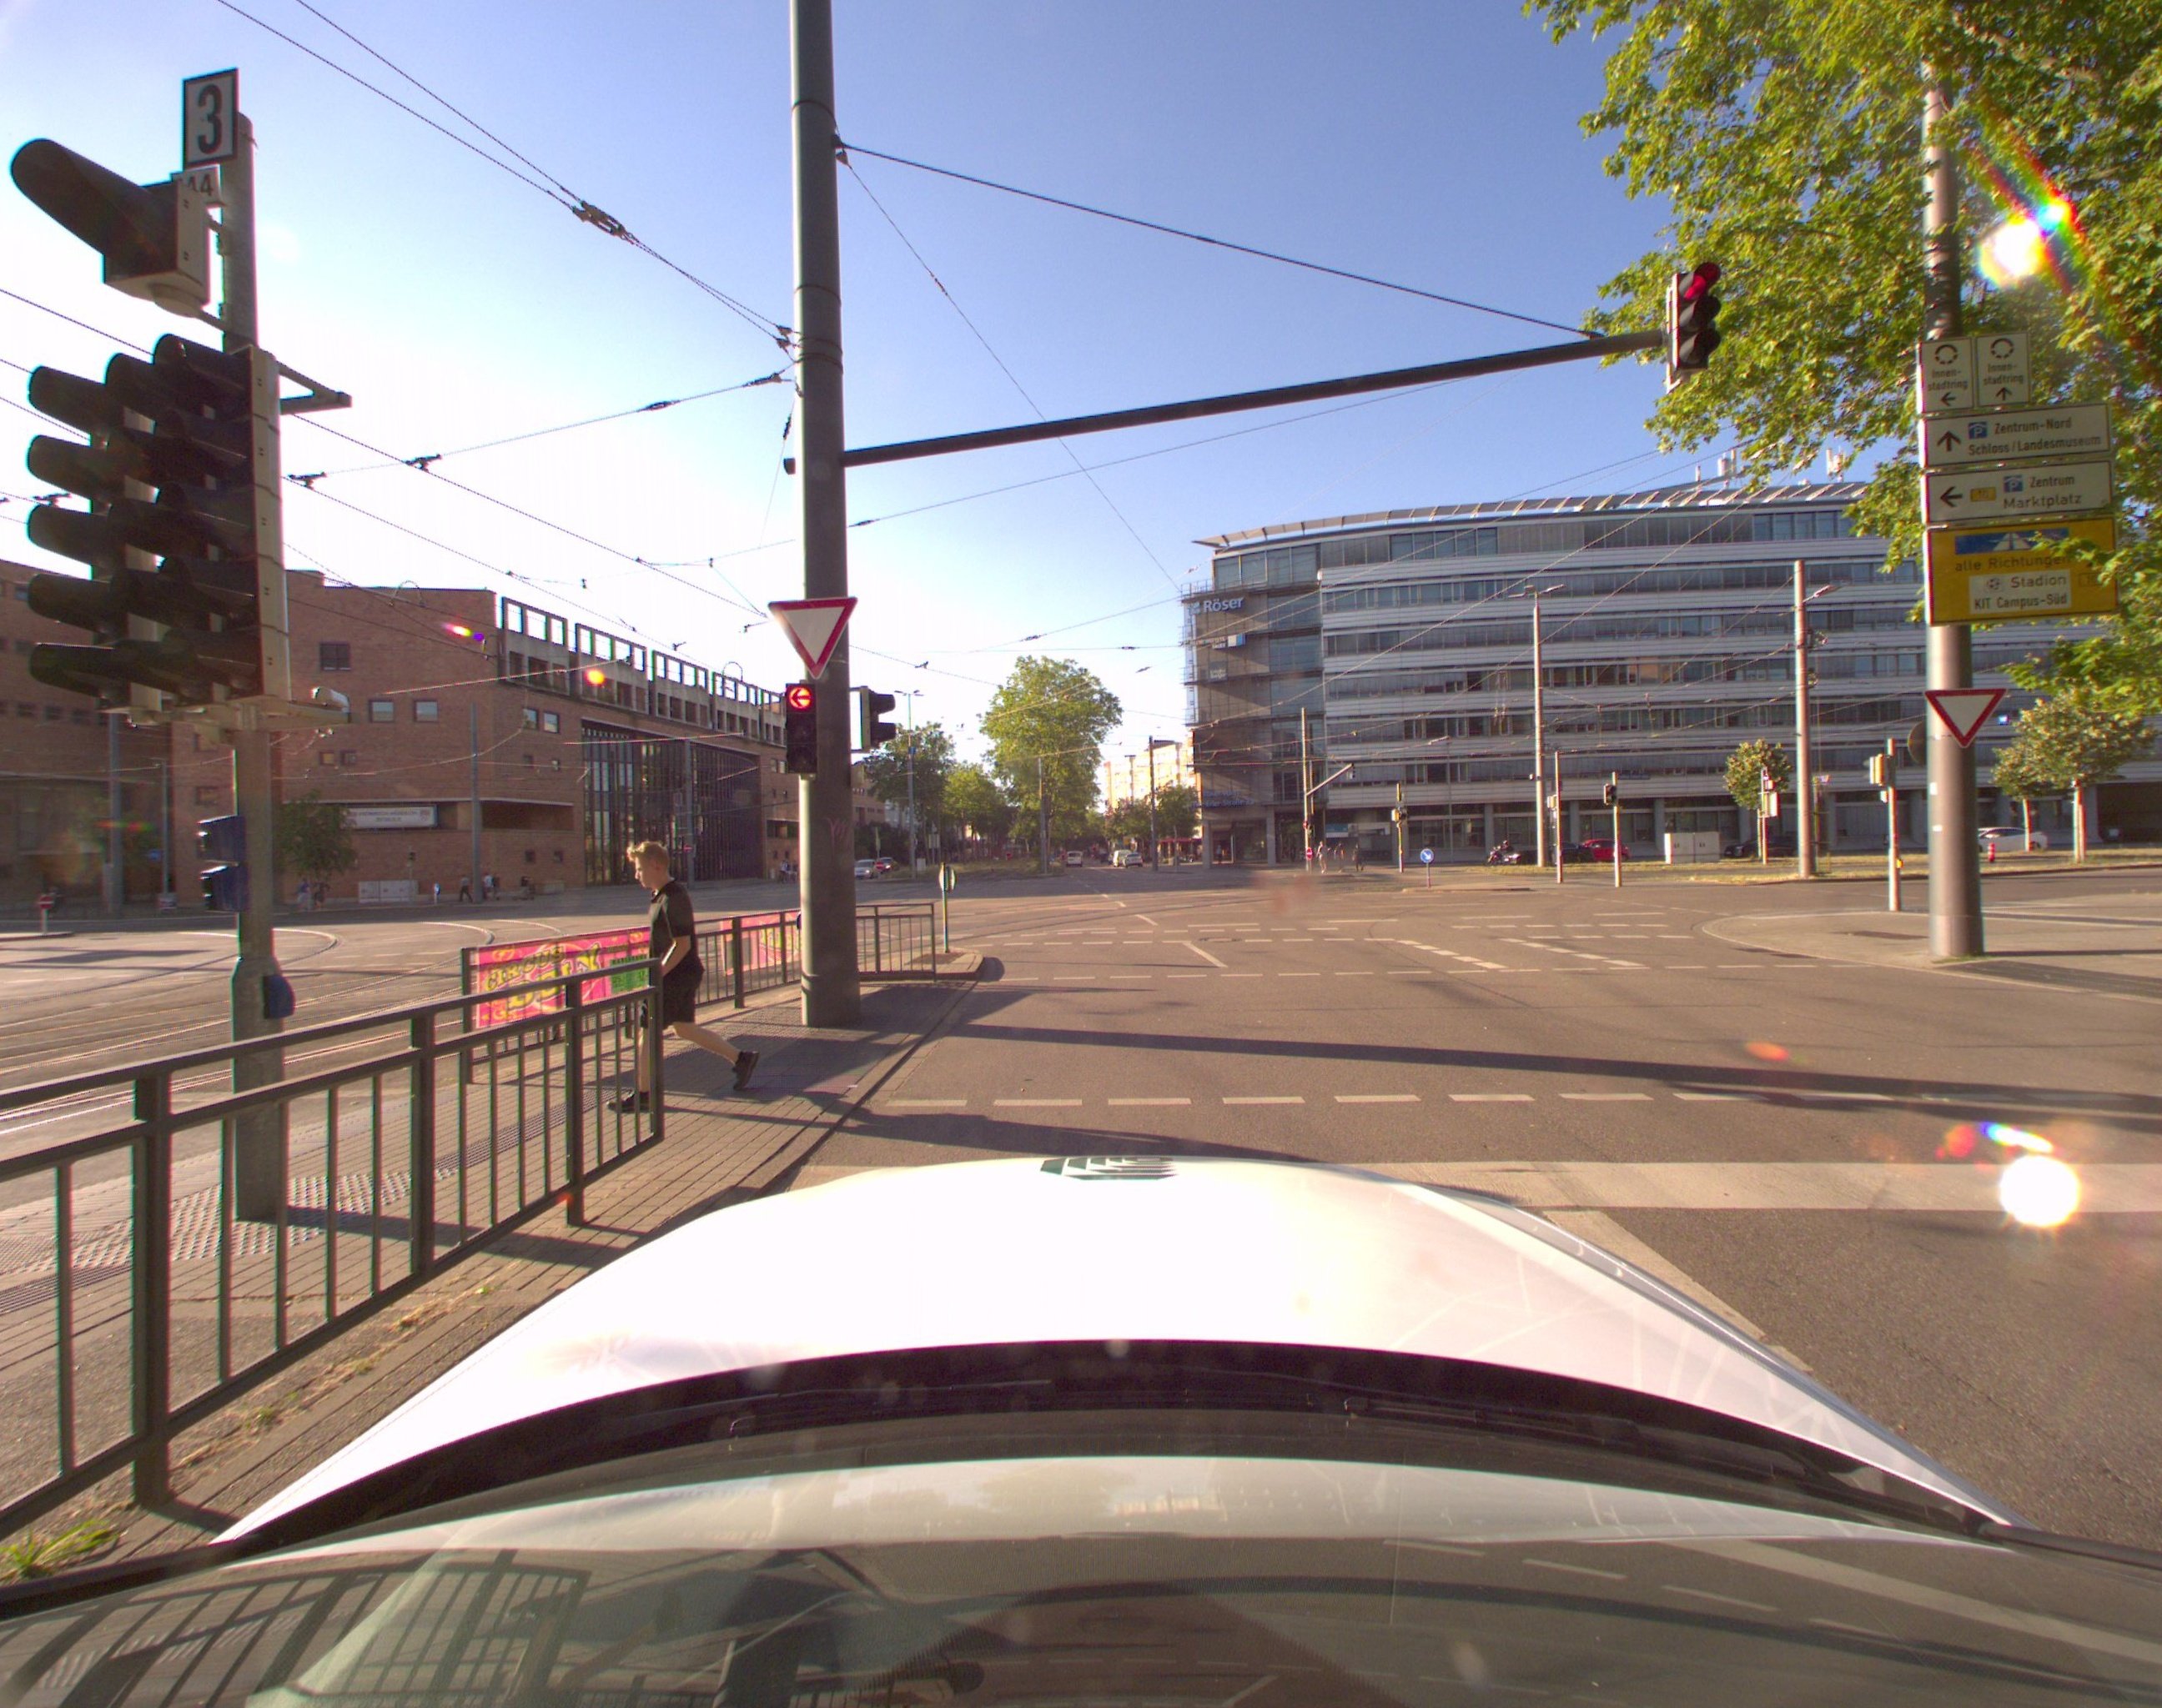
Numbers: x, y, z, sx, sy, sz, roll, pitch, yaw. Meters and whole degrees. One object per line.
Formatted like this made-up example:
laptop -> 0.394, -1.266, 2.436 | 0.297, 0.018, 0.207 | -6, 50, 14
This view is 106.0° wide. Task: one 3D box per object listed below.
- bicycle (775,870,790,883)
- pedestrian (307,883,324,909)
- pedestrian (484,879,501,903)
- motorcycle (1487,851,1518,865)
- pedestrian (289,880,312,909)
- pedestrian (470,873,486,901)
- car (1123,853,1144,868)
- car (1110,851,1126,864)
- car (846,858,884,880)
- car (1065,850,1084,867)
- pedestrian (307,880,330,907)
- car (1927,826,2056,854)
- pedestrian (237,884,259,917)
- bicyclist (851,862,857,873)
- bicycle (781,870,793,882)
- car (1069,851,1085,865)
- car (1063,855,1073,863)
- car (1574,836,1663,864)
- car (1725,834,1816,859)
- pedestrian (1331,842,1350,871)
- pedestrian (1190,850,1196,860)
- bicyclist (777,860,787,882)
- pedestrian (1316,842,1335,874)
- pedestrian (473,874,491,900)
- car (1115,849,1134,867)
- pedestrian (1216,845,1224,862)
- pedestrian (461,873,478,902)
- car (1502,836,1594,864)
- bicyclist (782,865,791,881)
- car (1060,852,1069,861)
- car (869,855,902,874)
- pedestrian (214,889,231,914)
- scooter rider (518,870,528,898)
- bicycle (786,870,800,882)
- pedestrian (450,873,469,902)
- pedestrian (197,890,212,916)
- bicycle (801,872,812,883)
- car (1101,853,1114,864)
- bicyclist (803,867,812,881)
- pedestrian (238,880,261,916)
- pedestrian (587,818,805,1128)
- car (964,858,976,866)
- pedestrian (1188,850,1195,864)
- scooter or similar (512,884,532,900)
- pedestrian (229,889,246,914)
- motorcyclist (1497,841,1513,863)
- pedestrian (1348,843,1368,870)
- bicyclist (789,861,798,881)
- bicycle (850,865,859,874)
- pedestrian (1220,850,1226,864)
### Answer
bicycle -> -24.305, 1.852, 66.308 | 0.540, 0.963, 1.587 | -2, 0, 2
pedestrian -> -45.460, 2.499, 48.361 | 0.548, 1.506, 0.489 | -2, 0, -12
pedestrian -> -36.108, 2.279, 49.984 | 0.597, 1.421, 0.640 | -2, 0, -9
motorcycle -> 25.414, 0.245, 49.092 | 1.560, 0.810, 0.468 | -2, 0, 6
pedestrian -> -40.136, 2.067, 41.874 | 0.563, 1.453, 0.618 | -2, 0, 22
pedestrian -> -36.875, 2.020, 49.782 | 0.547, 1.683, 0.572 | -2, 0, -8
car -> 5.283, 0.624, 82.820 | 1.986, 1.376, 4.002 | -2, 0, 2
car -> 4.812, 0.481, 105.293 | 1.986, 1.618, 4.002 | -2, 0, 2
car -> -18.011, 1.220, 67.949 | 1.987, 1.640, 4.001 | -2, 0, 1
car -> -0.715, 0.494, 97.412 | 1.953, 1.848, 5.333 | -2, 0, 2
pedestrian -> -38.343, 1.989, 40.955 | 0.597, 1.339, 0.685 | -2, 0, 27
car -> 48.988, -0.733, 43.886 | 4.580, 1.336, 1.789 | -2, 0, 7
pedestrian -> -40.846, 2.278, 39.927 | 0.590, 1.614, 0.593 | -2, 0, 30
bicyclist -> -24.830, 1.508, 89.133 | 0.503, 1.210, 0.581 | -2, 0, 1
bicycle -> -25.056, 1.887, 69.496 | 0.466, 0.963, 1.320 | -2, 0, 2
car -> -0.569, 0.521, 119.083 | 1.986, 1.912, 4.002 | -2, 0, 2
car -> -2.352, 0.938, 147.395 | 1.792, 1.442, 3.999 | 0, -1, 0
car -> 31.955, -0.246, 48.494 | 3.966, 1.393, 1.789 | -4, 0, 7
car -> 44.258, -0.500, 52.362 | 4.136, 1.398, 1.789 | -2, 0, 7
pedestrian -> 15.468, 0.125, 48.602 | 0.907, 1.685, 1.038 | -2, 0, 9
pedestrian -> 14.577, 0.140, 105.943 | 0.575, 1.289, 0.910 | -2, 0, 2
bicyclist -> -24.312, 1.397, 66.311 | 0.534, 1.731, 0.581 | -2, 0, 1
pedestrian -> 14.269, 0.222, 47.601 | 0.860, 1.788, 0.872 | -2, 0, 4
pedestrian -> -37.299, 2.054, 50.716 | 0.614, 1.625, 0.612 | -2, 0, -3
car -> 4.737, 0.453, 89.637 | 1.986, 1.860, 4.002 | -2, 0, 2
pedestrian -> 12.401, -0.037, 72.768 | 0.608, 1.507, 0.581 | -2, 0, 12
pedestrian -> -36.365, 1.970, 48.424 | 0.548, 1.683, 0.591 | -2, 0, -7
car -> 26.391, -0.205, 46.113 | 4.136, 1.398, 1.789 | -2, 0, 7
bicyclist -> -25.082, 1.606, 69.347 | 0.503, 1.304, 0.581 | -2, 0, 1
car -> -3.879, 0.635, 192.507 | 1.986, 2.013, 4.001 | -2, 0, 1
car -> -18.122, 0.964, 75.524 | 1.987, 1.640, 4.001 | -2, 0, 1
pedestrian -> -49.292, 2.715, 46.745 | 0.547, 1.409, 0.577 | -2, 0, 35
scooter rider -> -33.727, 1.807, 49.194 | 0.441, 1.647, 0.226 | -2, 0, -44
bicycle -> -23.453, 1.787, 66.394 | 0.471, 0.963, 1.576 | -2, 0, 2
pedestrian -> -37.544, 1.997, 49.172 | 0.620, 1.683, 0.649 | -2, 0, -9
pedestrian -> -49.768, 2.788, 46.253 | 0.583, 1.463, 0.537 | -2, 0, 45
bicycle -> -24.281, 2.069, 72.142 | 0.449, 0.963, 1.348 | -2, 0, 2
car -> 4.083, 0.660, 126.775 | 1.986, 1.618, 4.002 | -2, 0, 2
bicyclist -> -24.282, 1.788, 72.300 | 0.503, 1.179, 0.581 | -2, 0, 1
pedestrian -> -40.033, 2.118, 39.218 | 0.594, 1.648, 0.552 | -2, 0, 18
pedestrian -> -2.460, 0.665, 5.227 | 1.098, 1.748, 0.734 | -1, 0, -40
car -> -25.384, 1.810, 185.694 | 1.986, 1.816, 4.002 | -2, 0, 2
pedestrian -> 14.169, 0.393, 104.728 | 0.741, 1.714, 0.612 | -2, 0, 1
scooter or similar -> -33.733, 2.278, 49.146 | 0.956, 0.899, 0.173 | -2, 0, -45
pedestrian -> -48.949, 2.744, 47.278 | 0.549, 1.427, 0.563 | -2, 0, 32
motorcyclist -> 25.512, -0.140, 49.019 | 0.708, 1.275, 0.460 | -2, 0, 5
pedestrian -> 16.193, 0.150, 47.601 | 0.943, 1.564, 0.899 | -2, 0, 8
bicyclist -> -23.452, 1.416, 66.440 | 0.456, 1.603, 0.581 | -2, 0, 1
bicycle -> -24.849, 1.720, 89.226 | 0.490, 0.963, 1.487 | -2, 0, 2
pedestrian -> 16.016, 0.354, 91.596 | 0.608, 1.507, 0.580 | -2, 0, 9
